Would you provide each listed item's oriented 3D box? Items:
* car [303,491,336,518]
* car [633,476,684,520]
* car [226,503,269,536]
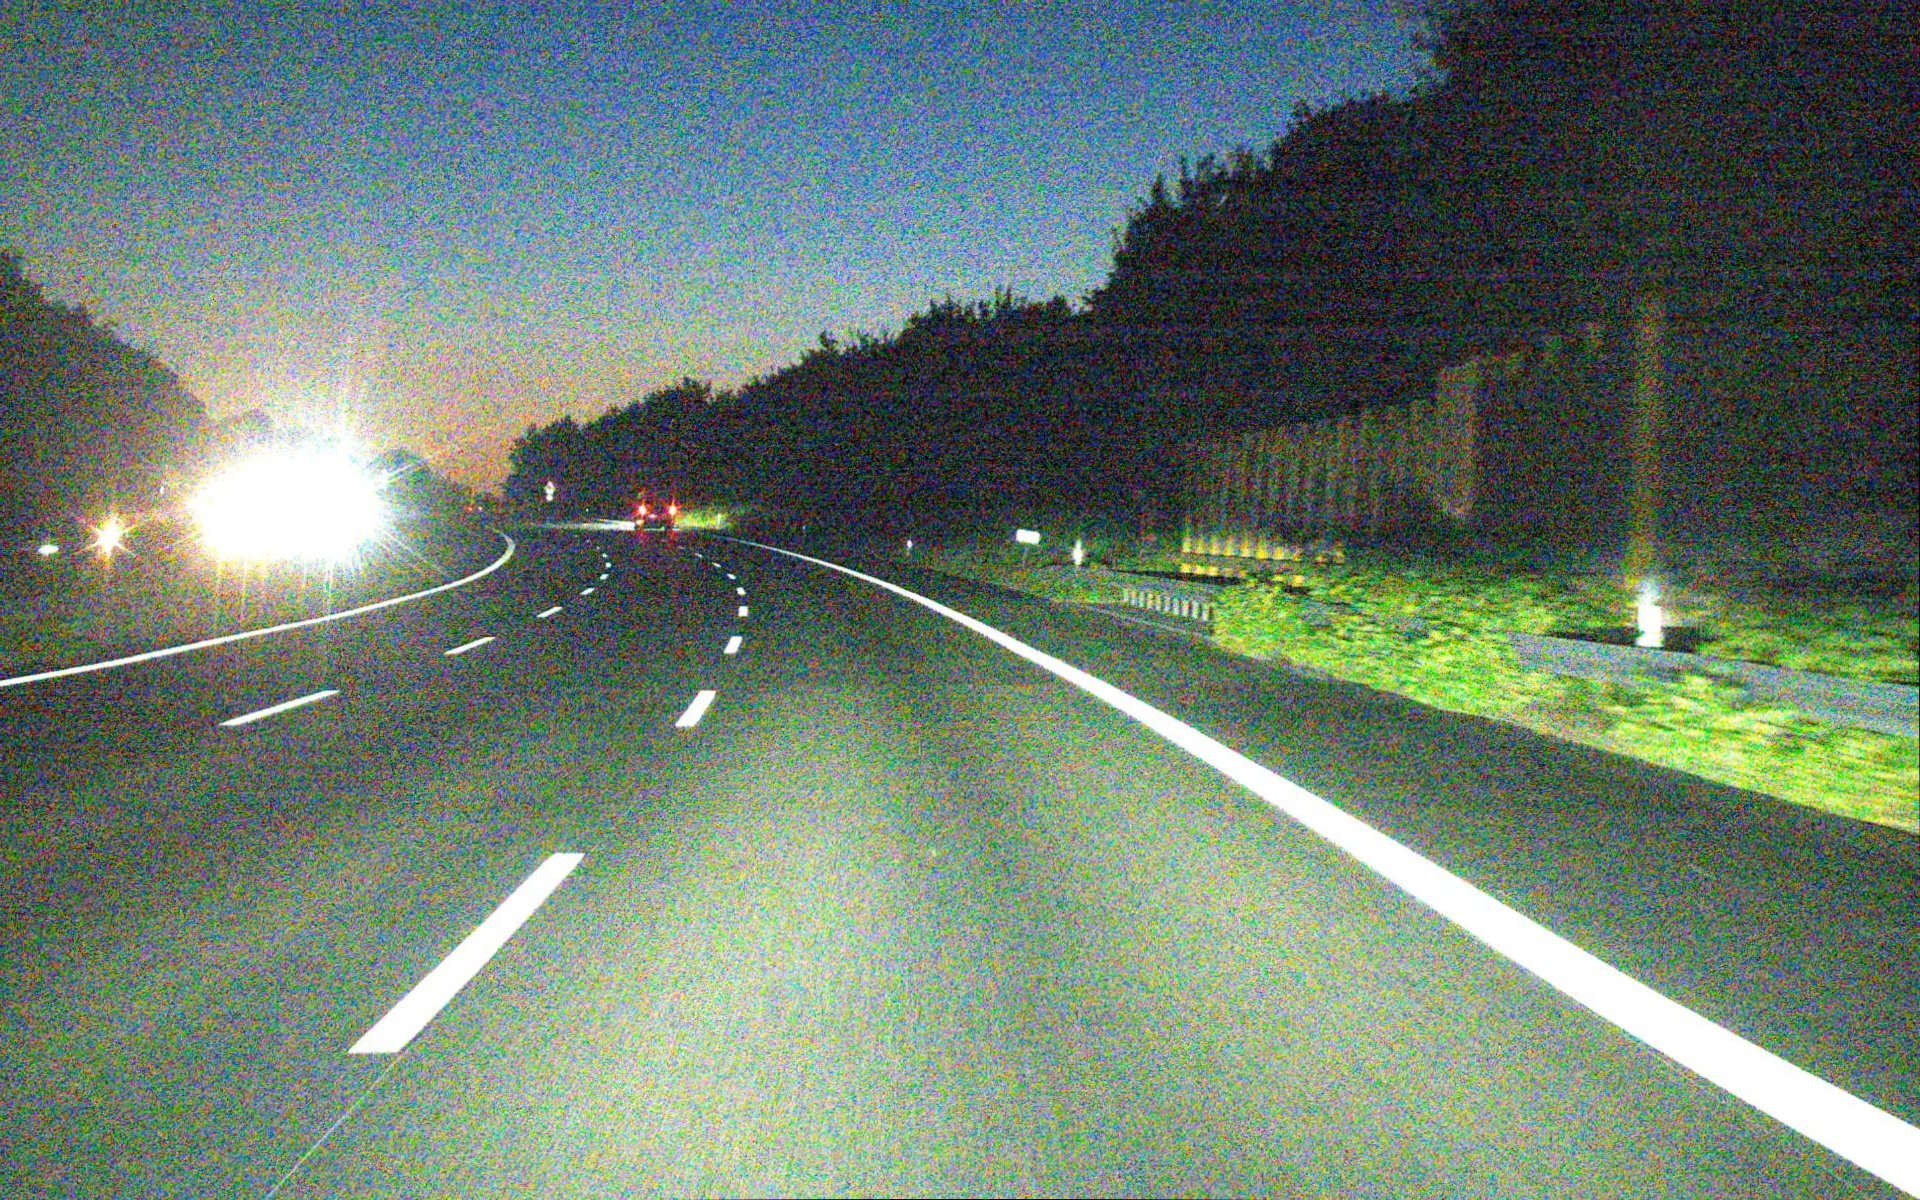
[{"bbox_3d":[-44.952,-6.734,241.357,1.993,1.848,4.078,0,2,-7],"label":"car"},{"bbox_3d":[-18.353,-6.205,208.986,2.527,2.544,6.053,2,1,-10],"label":"car"},{"bbox_3d":[-38.352,-4.361,185.118,1.993,1.720,4.078,0,2,-7],"label":"car"}]
